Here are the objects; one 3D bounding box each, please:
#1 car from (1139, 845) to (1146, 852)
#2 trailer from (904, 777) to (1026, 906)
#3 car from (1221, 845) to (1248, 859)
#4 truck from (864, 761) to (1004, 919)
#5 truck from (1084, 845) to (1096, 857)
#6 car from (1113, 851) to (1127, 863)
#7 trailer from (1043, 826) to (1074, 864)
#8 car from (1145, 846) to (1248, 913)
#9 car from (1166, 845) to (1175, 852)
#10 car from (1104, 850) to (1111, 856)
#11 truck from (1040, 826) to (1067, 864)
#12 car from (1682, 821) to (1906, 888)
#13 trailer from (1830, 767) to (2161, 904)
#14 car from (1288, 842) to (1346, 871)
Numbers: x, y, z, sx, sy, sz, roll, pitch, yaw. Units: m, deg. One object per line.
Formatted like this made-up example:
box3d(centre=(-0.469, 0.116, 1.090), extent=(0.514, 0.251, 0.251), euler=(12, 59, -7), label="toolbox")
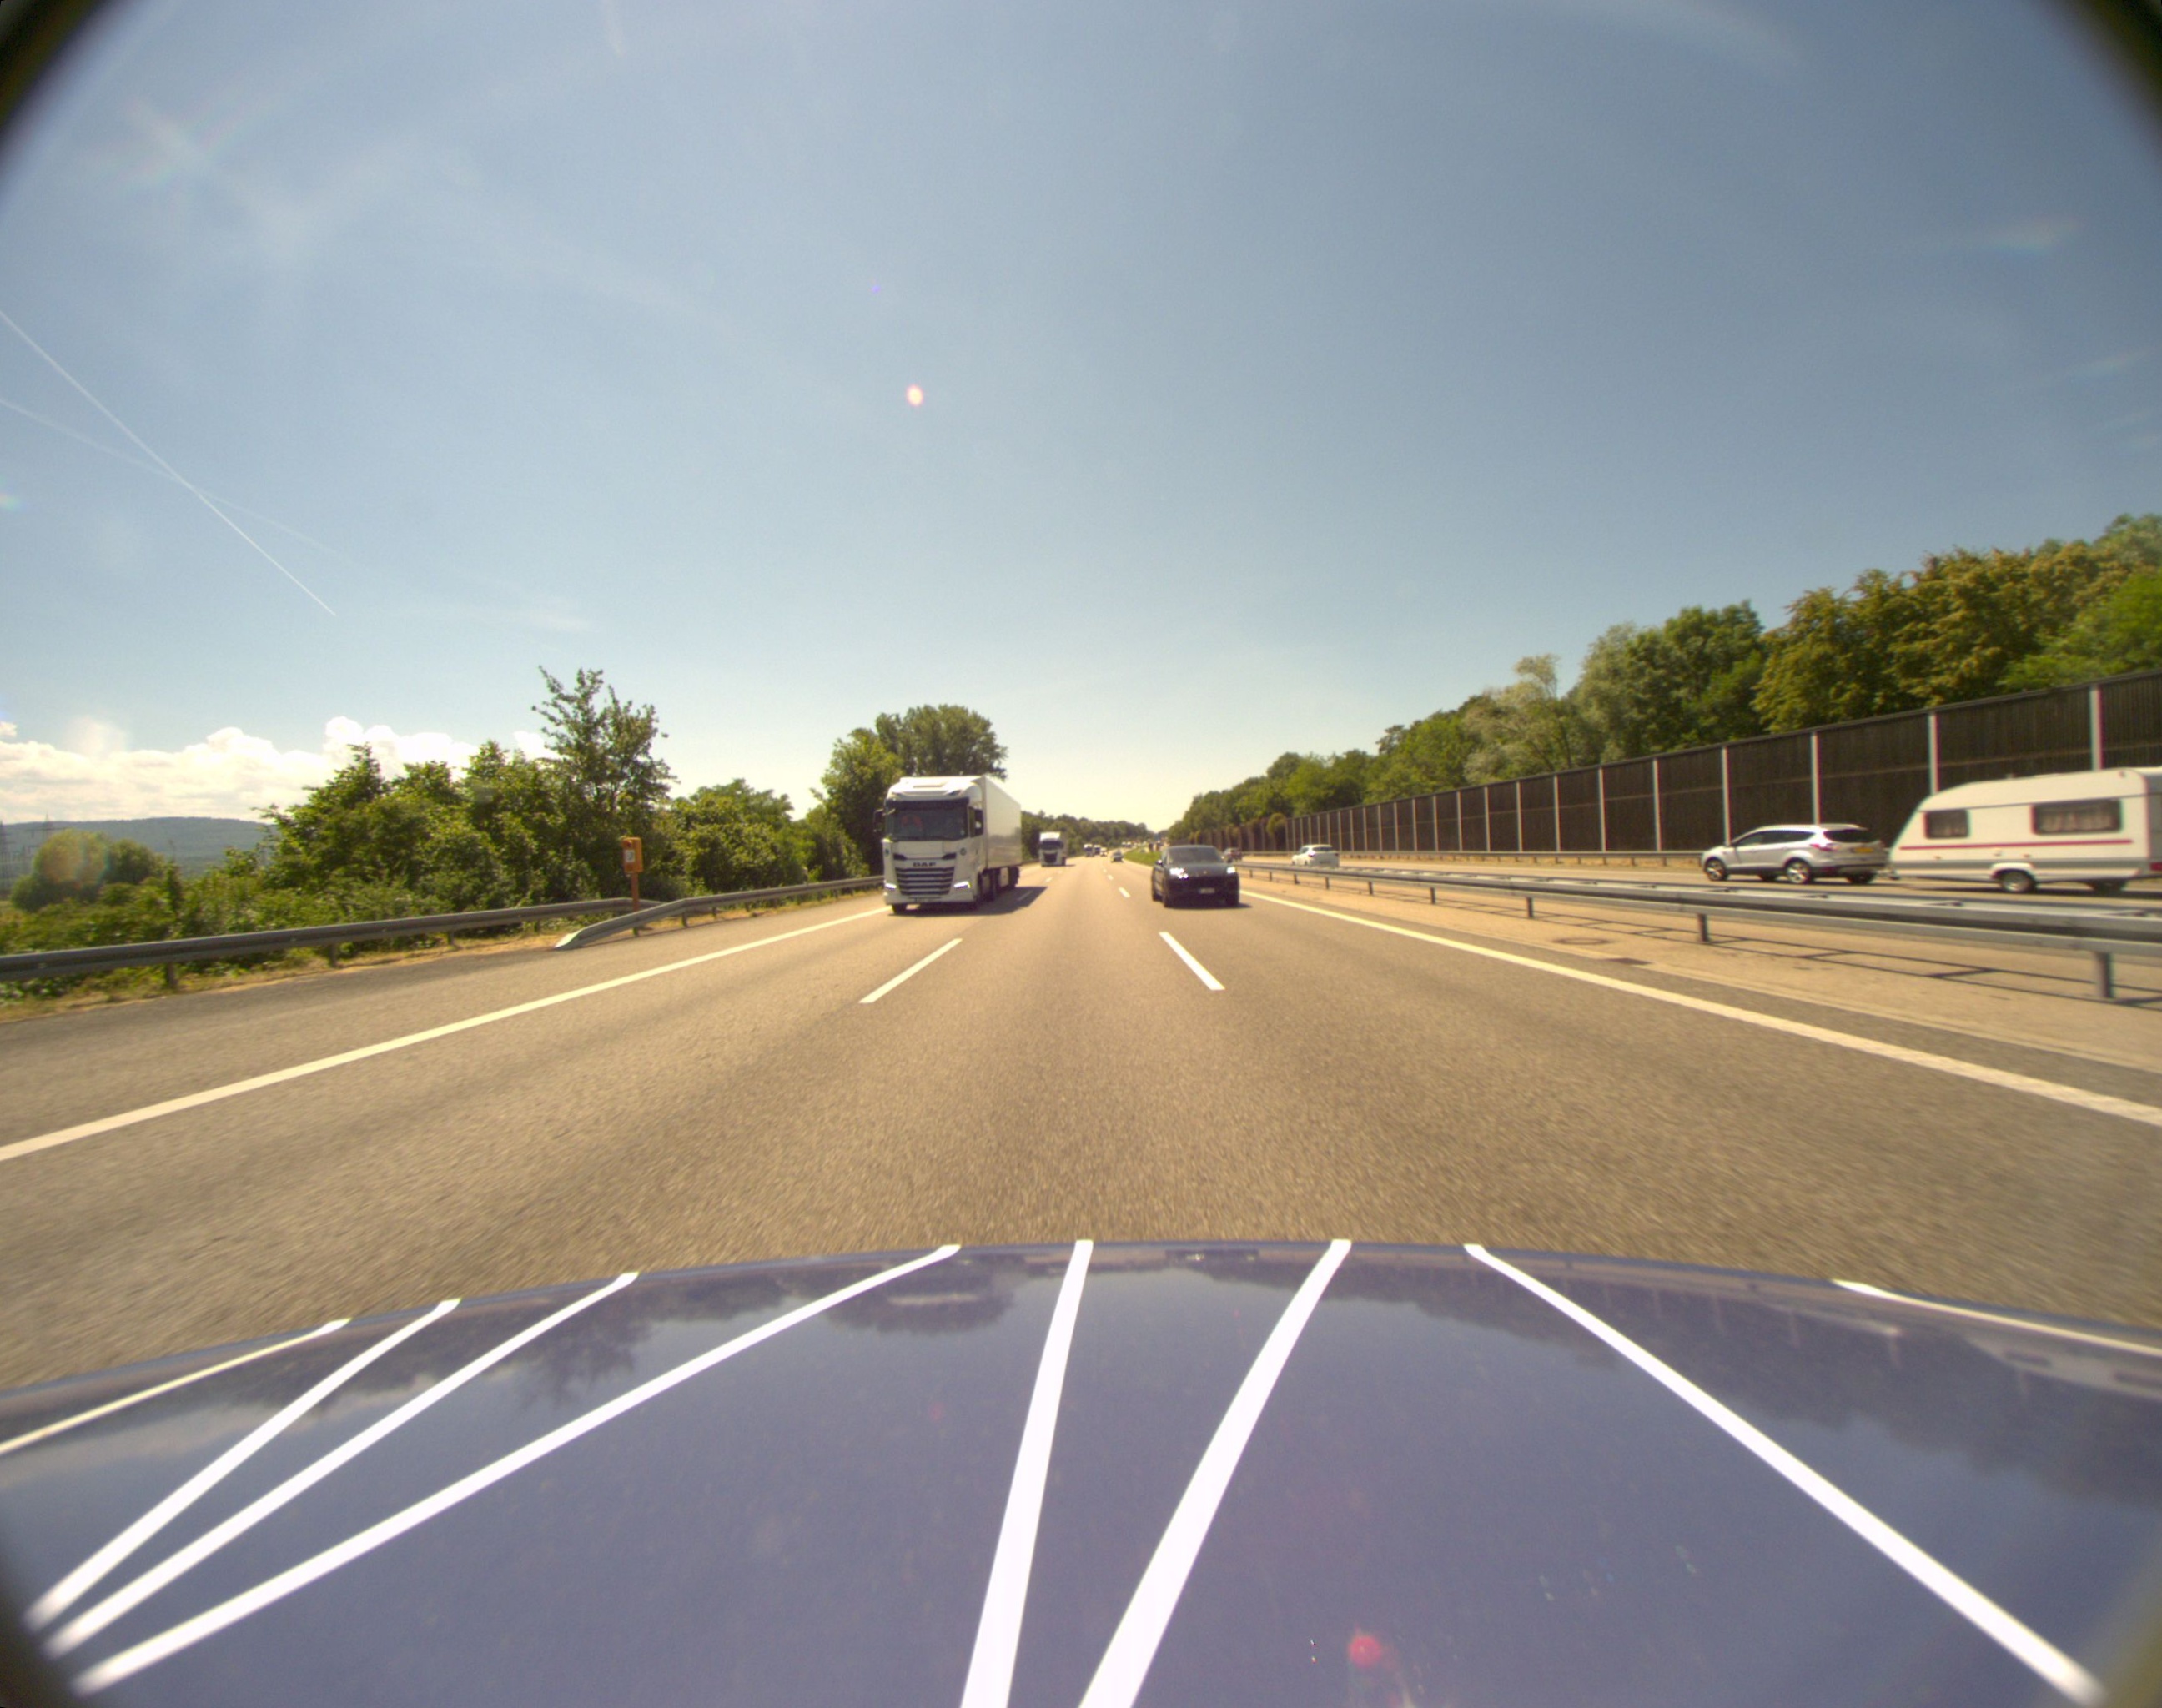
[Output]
box3d(centre=(19.838, -1.762, 244.943), extent=(1.998, 2.002, 5.346), euler=(-2, 0, 1), label="car")
box3d(centre=(-4.232, -0.443, 31.001), extent=(2.967, 4.082, 12.530), euler=(-2, 0, 0), label="trailer")
box3d(centre=(18.343, -0.240, 90.814), extent=(2.129, 1.513, 5.982), euler=(-2, 0, 1), label="car")
box3d(centre=(-4.215, -0.393, 23.255), extent=(2.967, 4.082, 6.206), euler=(-2, 1, 0), label="truck")
box3d(centre=(2.972, -1.136, 244.615), extent=(3.073, 3.617, 12.402), euler=(-2, 1, 3), label="truck")
box3d(centre=(5.839, 0.439, 112.455), extent=(1.908, 1.717, 4.377), euler=(-2, 1, 5), label="car")
box3d(centre=(-2.765, -1.153, 97.724), extent=(2.541, 4.446, 14.162), euler=(-2, 1, 4), label="trailer")
box3d(centre=(3.166, 0.623, 22.082), extent=(2.049, 1.616, 5.771), euler=(-2, 0, 0), label="car")
box3d(centre=(26.806, -1.737, 227.585), extent=(1.998, 2.002, 5.385), euler=(-2, 0, 2), label="car")
box3d(centre=(8.363, -0.303, 242.816), extent=(1.908, 1.717, 4.871), euler=(-2, 1, 5), label="car")
box3d(centre=(-3.196, -1.077, 91.161), extent=(2.541, 4.446, 5.573), euler=(-2, 1, 4), label="truck")
box3d(centre=(20.506, 0.002, 22.240), extent=(1.904, 1.701, 4.905), euler=(-2, 0, -1), label="car")
box3d(centre=(20.518, -0.377, 16.568), extent=(2.136, 2.462, 6.268), euler=(-2, 0, -1), label="trailer")
box3d(centre=(13.339, 0.112, 43.177), extent=(1.904, 1.512, 4.418), euler=(-2, 0, 0), label="car")
